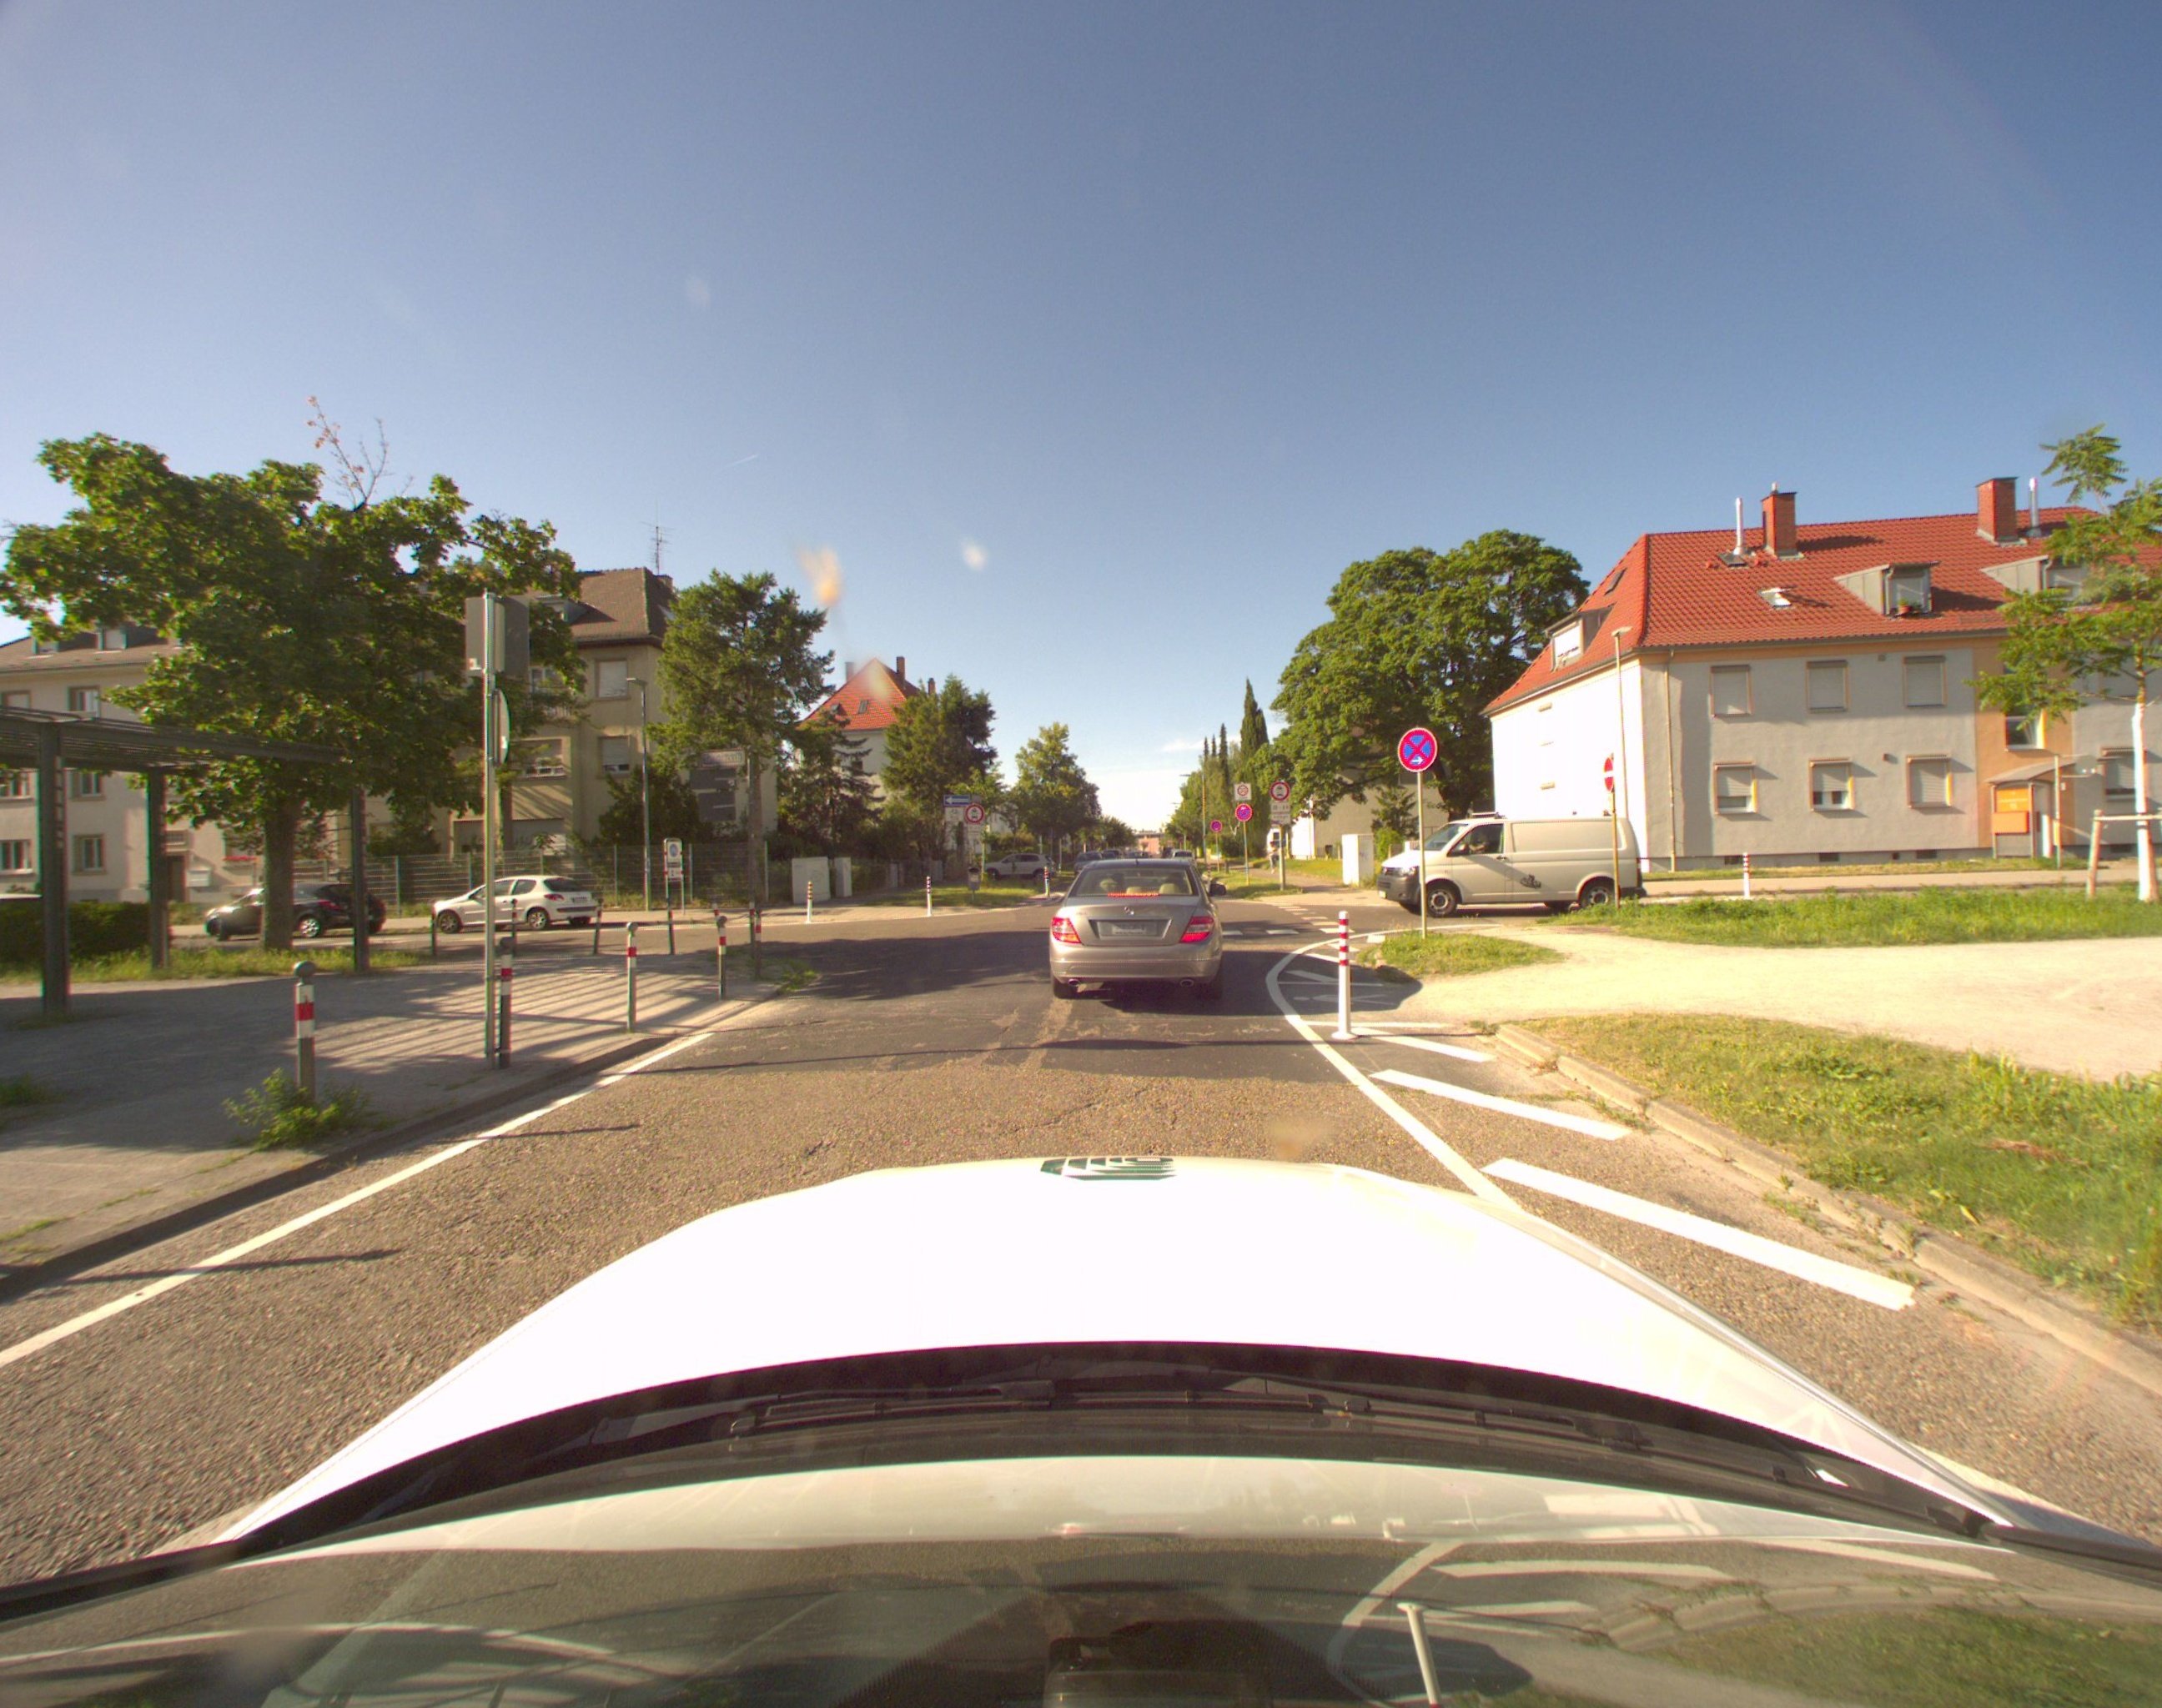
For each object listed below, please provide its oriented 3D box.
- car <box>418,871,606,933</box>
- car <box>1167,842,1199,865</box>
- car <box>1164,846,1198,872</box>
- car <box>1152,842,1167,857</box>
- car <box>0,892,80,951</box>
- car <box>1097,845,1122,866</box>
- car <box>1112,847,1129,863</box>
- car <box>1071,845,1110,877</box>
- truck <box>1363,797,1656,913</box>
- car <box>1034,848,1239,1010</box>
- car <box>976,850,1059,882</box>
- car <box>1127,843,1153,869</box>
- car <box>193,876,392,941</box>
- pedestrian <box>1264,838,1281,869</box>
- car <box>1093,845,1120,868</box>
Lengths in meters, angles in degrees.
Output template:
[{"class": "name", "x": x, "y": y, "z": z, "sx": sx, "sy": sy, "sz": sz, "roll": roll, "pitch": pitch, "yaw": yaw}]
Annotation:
[{"class": "car", "x": -14.892, "y": 1.242, "z": 21.433, "sx": 3.747, "sy": 1.398, "sz": 1.709, "roll": -2, "pitch": -1, "yaw": 4}, {"class": "car", "x": 7.532, "y": -0.056, "z": 60.558, "sx": 1.985, "sy": 1.609, "sz": 4.003, "roll": -2, "pitch": 0, "yaw": 3}, {"class": "car", "x": 6.079, "y": 0.267, "z": 49.817, "sx": 1.726, "sy": 1.479, "sz": 3.728, "roll": -2, "pitch": 0, "yaw": 3}, {"class": "car", "x": 10.122, "y": -0.652, "z": 105.524, "sx": 1.846, "sy": 1.841, "sz": 4.005, "roll": -2, "pitch": 0, "yaw": 4}, {"class": "car", "x": -30.845, "y": 1.921, "z": 22.673, "sx": 3.968, "sy": 1.494, "sz": 1.804, "roll": -2, "pitch": -1, "yaw": 5}, {"class": "car", "x": 2.526, "y": 0.126, "z": 71.447, "sx": 1.985, "sy": 1.609, "sz": 4.003, "roll": -5, "pitch": 0, "yaw": 3}, {"class": "car", "x": 4.372, "y": 0.075, "z": 90.801, "sx": 1.727, "sy": 1.609, "sz": 3.938, "roll": -5, "pitch": 0, "yaw": 3}, {"class": "car", "x": 0.583, "y": 0.366, "z": 47.892, "sx": 1.985, "sy": 1.609, "sz": 4.003, "roll": -5, "pitch": 0, "yaw": 3}, {"class": "truck", "x": 8.498, "y": 0.018, "z": 16.543, "sx": 4.836, "sy": 2.036, "sz": 2.003, "roll": -2, "pitch": 1, "yaw": 4}, {"class": "car", "x": 0.707, "y": 0.681, "z": 9.410, "sx": 1.827, "sy": 1.441, "sz": 4.007, "roll": -1, "pitch": 0, "yaw": 6}, {"class": "car", "x": -3.305, "y": 0.606, "z": 43.005, "sx": 4.176, "sy": 1.564, "sz": 1.843, "roll": -1, "pitch": 0, "yaw": 1}, {"class": "car", "x": 3.983, "y": 0.100, "z": 55.300, "sx": 1.590, "sy": 1.609, "sz": 3.647, "roll": -2, "pitch": 1, "yaw": 3}, {"class": "car", "x": -20.901, "y": 1.416, "z": 21.669, "sx": 3.795, "sy": 1.494, "sz": 1.679, "roll": -2, "pitch": -1, "yaw": 5}, {"class": "pedestrian", "x": 9.963, "y": -0.024, "z": 42.425, "sx": 0.761, "sy": 1.611, "sz": 0.836, "roll": -2, "pitch": 0, "yaw": 9}, {"class": "car", "x": 2.087, "y": 0.163, "z": 65.663, "sx": 1.985, "sy": 1.609, "sz": 4.003, "roll": -5, "pitch": 0, "yaw": 3}]
